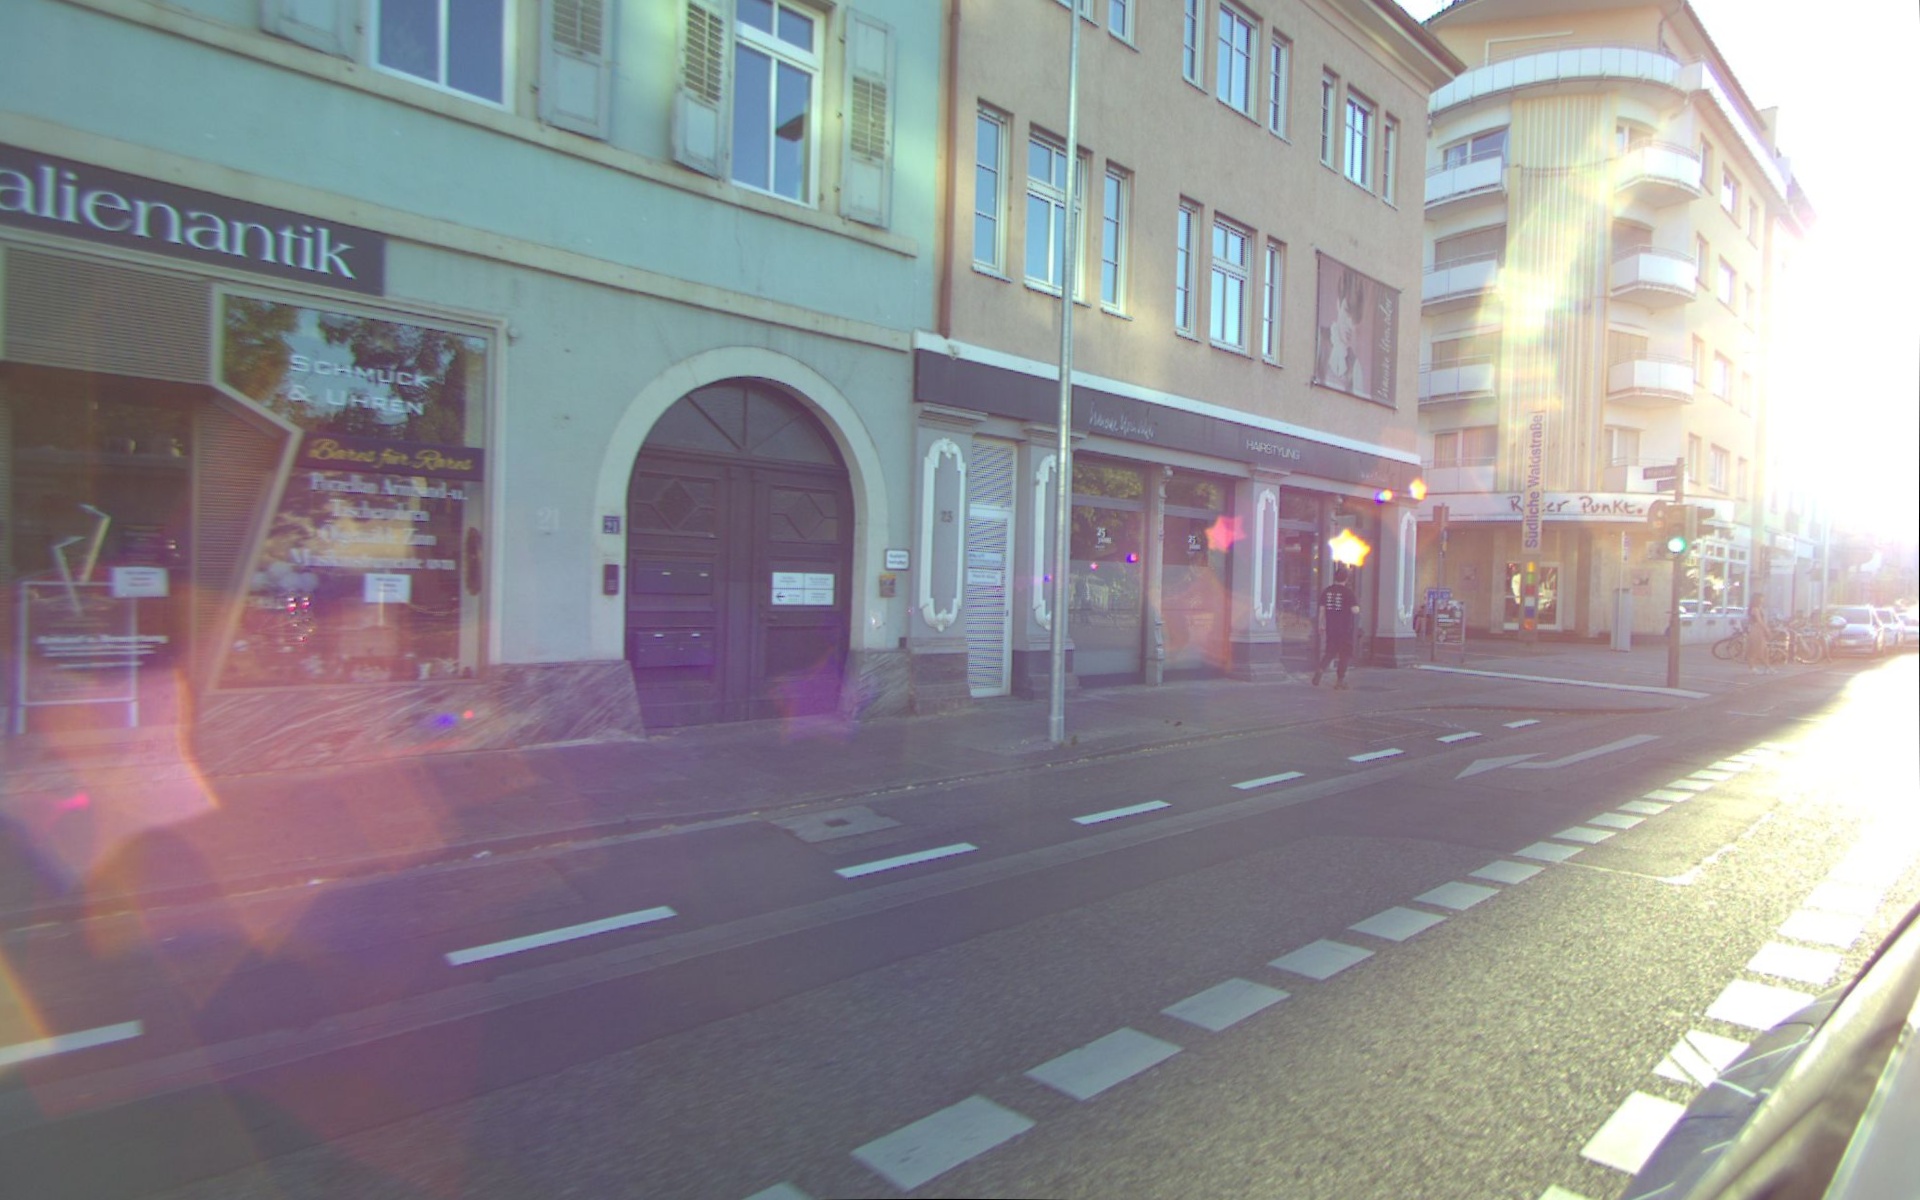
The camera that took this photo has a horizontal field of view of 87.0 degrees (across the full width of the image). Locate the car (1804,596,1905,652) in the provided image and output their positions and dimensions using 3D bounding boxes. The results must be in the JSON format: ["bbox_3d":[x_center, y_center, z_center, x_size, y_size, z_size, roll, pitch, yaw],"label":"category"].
[{"bbox_3d":[27.817,0.688,31.435,4.434,1.567,1.995,-1,1,-44],"label":"car"}]

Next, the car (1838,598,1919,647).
[{"bbox_3d":[32.618,0.739,35.765,4.434,1.567,1.995,-1,1,-44],"label":"car"}]

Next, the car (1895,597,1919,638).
[{"bbox_3d":[41.096,0.723,42.690,4.431,1.668,1.997,-1,1,-41],"label":"car"}]

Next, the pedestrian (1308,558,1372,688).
[{"bbox_3d":[5.508,0.305,14.670,0.668,1.806,0.714,4,3,32],"label":"pedestrian"}]

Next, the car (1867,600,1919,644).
[{"bbox_3d":[36.659,0.823,39.039,4.431,1.567,1.997,-1,1,-41],"label":"car"}]

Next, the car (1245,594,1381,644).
[{"bbox_3d":[12.040,0.599,34.894,1.958,1.567,4.519,0,1,-21],"label":"car"}]

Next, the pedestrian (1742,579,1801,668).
[{"bbox_3d":[16.489,0.454,20.557,0.689,1.768,0.840,0,0,-42],"label":"pedestrian"}]
